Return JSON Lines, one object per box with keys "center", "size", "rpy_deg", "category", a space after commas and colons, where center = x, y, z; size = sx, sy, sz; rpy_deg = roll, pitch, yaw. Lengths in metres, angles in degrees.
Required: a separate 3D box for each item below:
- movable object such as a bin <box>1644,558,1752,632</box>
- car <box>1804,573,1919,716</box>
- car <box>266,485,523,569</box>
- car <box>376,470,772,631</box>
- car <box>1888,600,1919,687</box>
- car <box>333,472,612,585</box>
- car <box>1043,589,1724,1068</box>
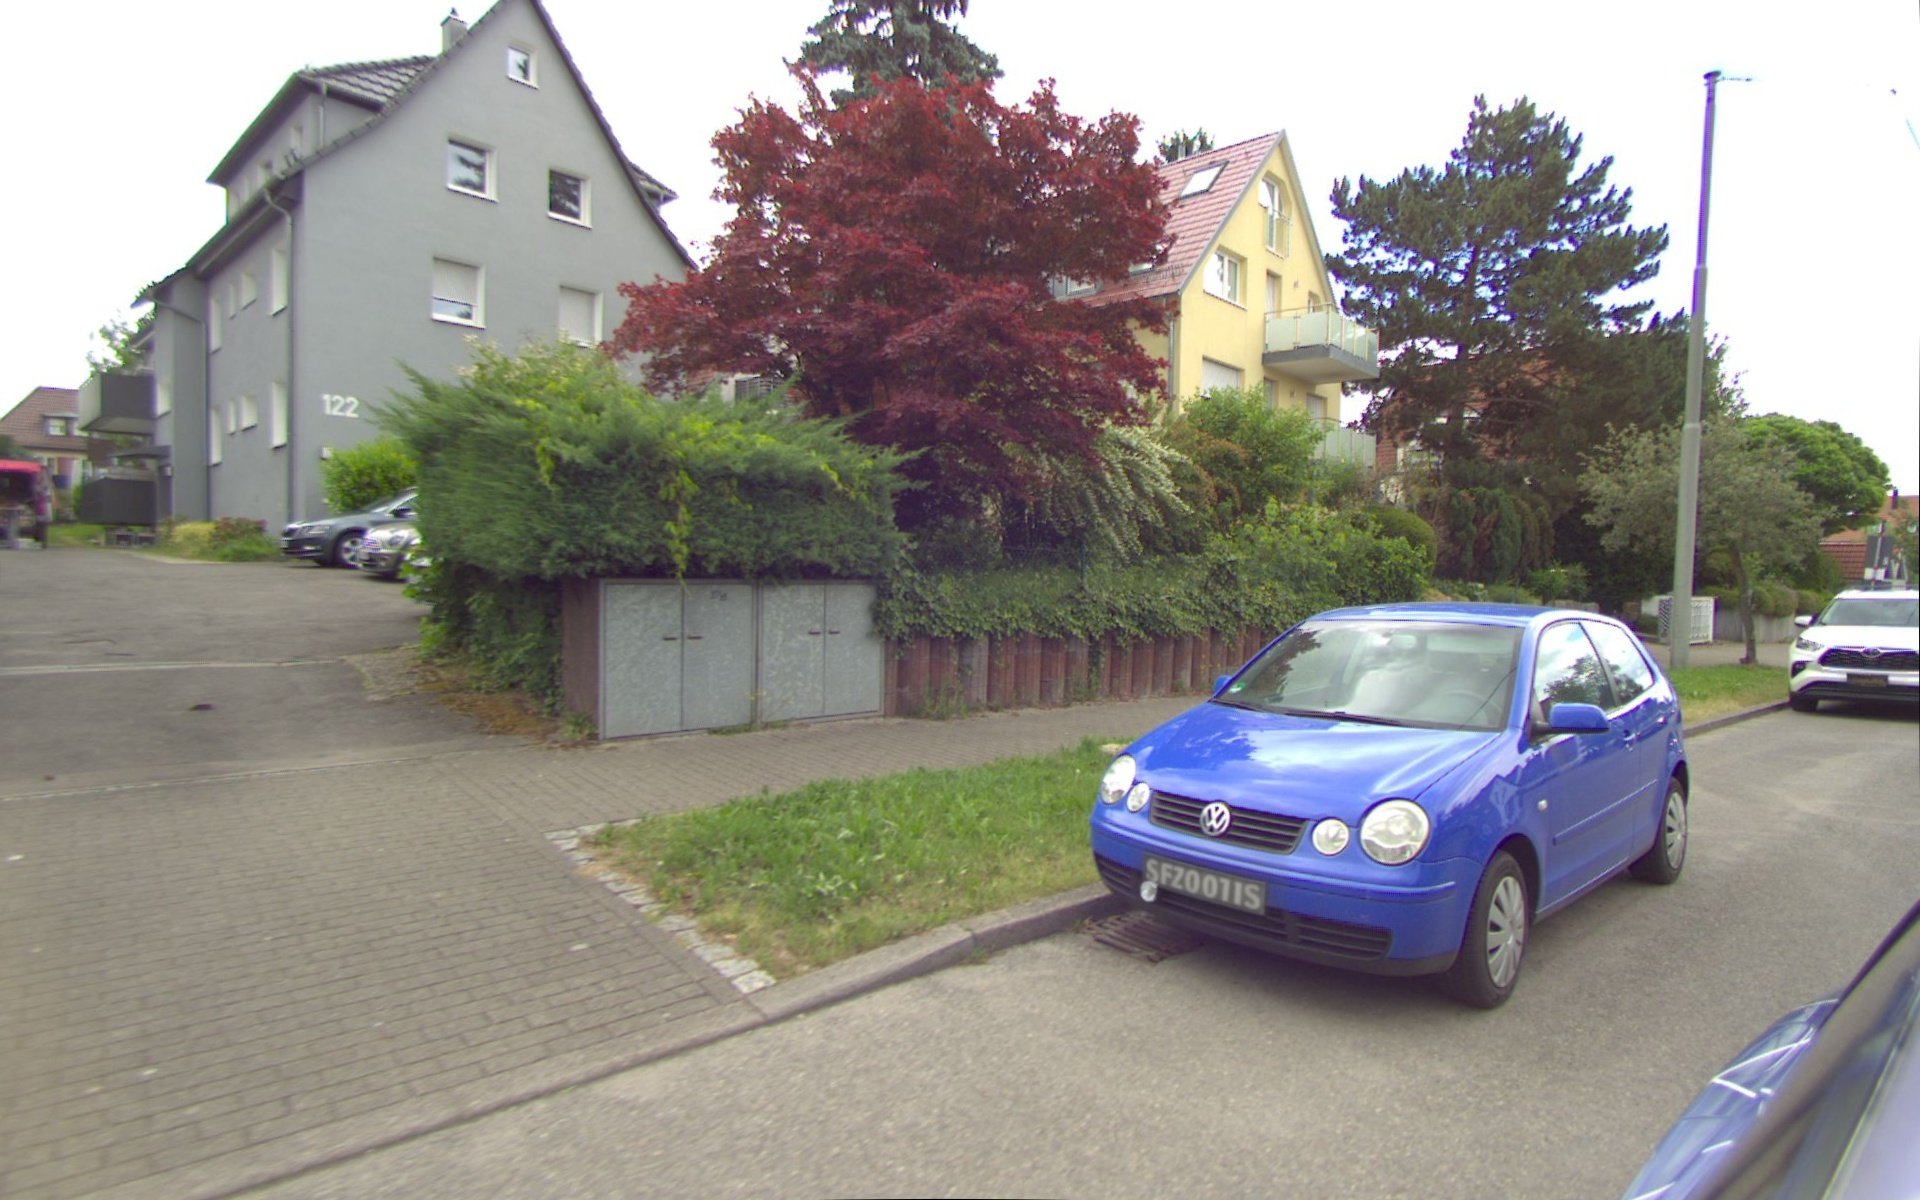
{"center": [21.254, -0.143, 29.184], "size": [1.320, 2.039, 2.314], "rpy_deg": [0, 0, -42], "category": "movable object such as a bin"}
{"center": [13.677, 0.566, 14.474], "size": [4.623, 1.800, 1.802], "rpy_deg": [0, 0, -42], "category": "car"}
{"center": [-10.121, -1.385, 18.355], "size": [1.425, 1.365, 3.798], "rpy_deg": [5, 8, 40], "category": "car"}
{"center": [-4.820, -0.816, 13.205], "size": [1.778, 1.697, 4.471], "rpy_deg": [7, 11, 43], "category": "car"}
{"center": [17.785, 0.752, 17.994], "size": [3.446, 1.461, 1.560], "rpy_deg": [0, 0, -42], "category": "car"}
{"center": [-8.150, -1.225, 17.145], "size": [1.809, 1.609, 3.873], "rpy_deg": [9, 8, 41], "category": "car"}
{"center": [2.318, 0.697, 5.012], "size": [3.809, 1.470, 1.629], "rpy_deg": [0, 1, -42], "category": "car"}
